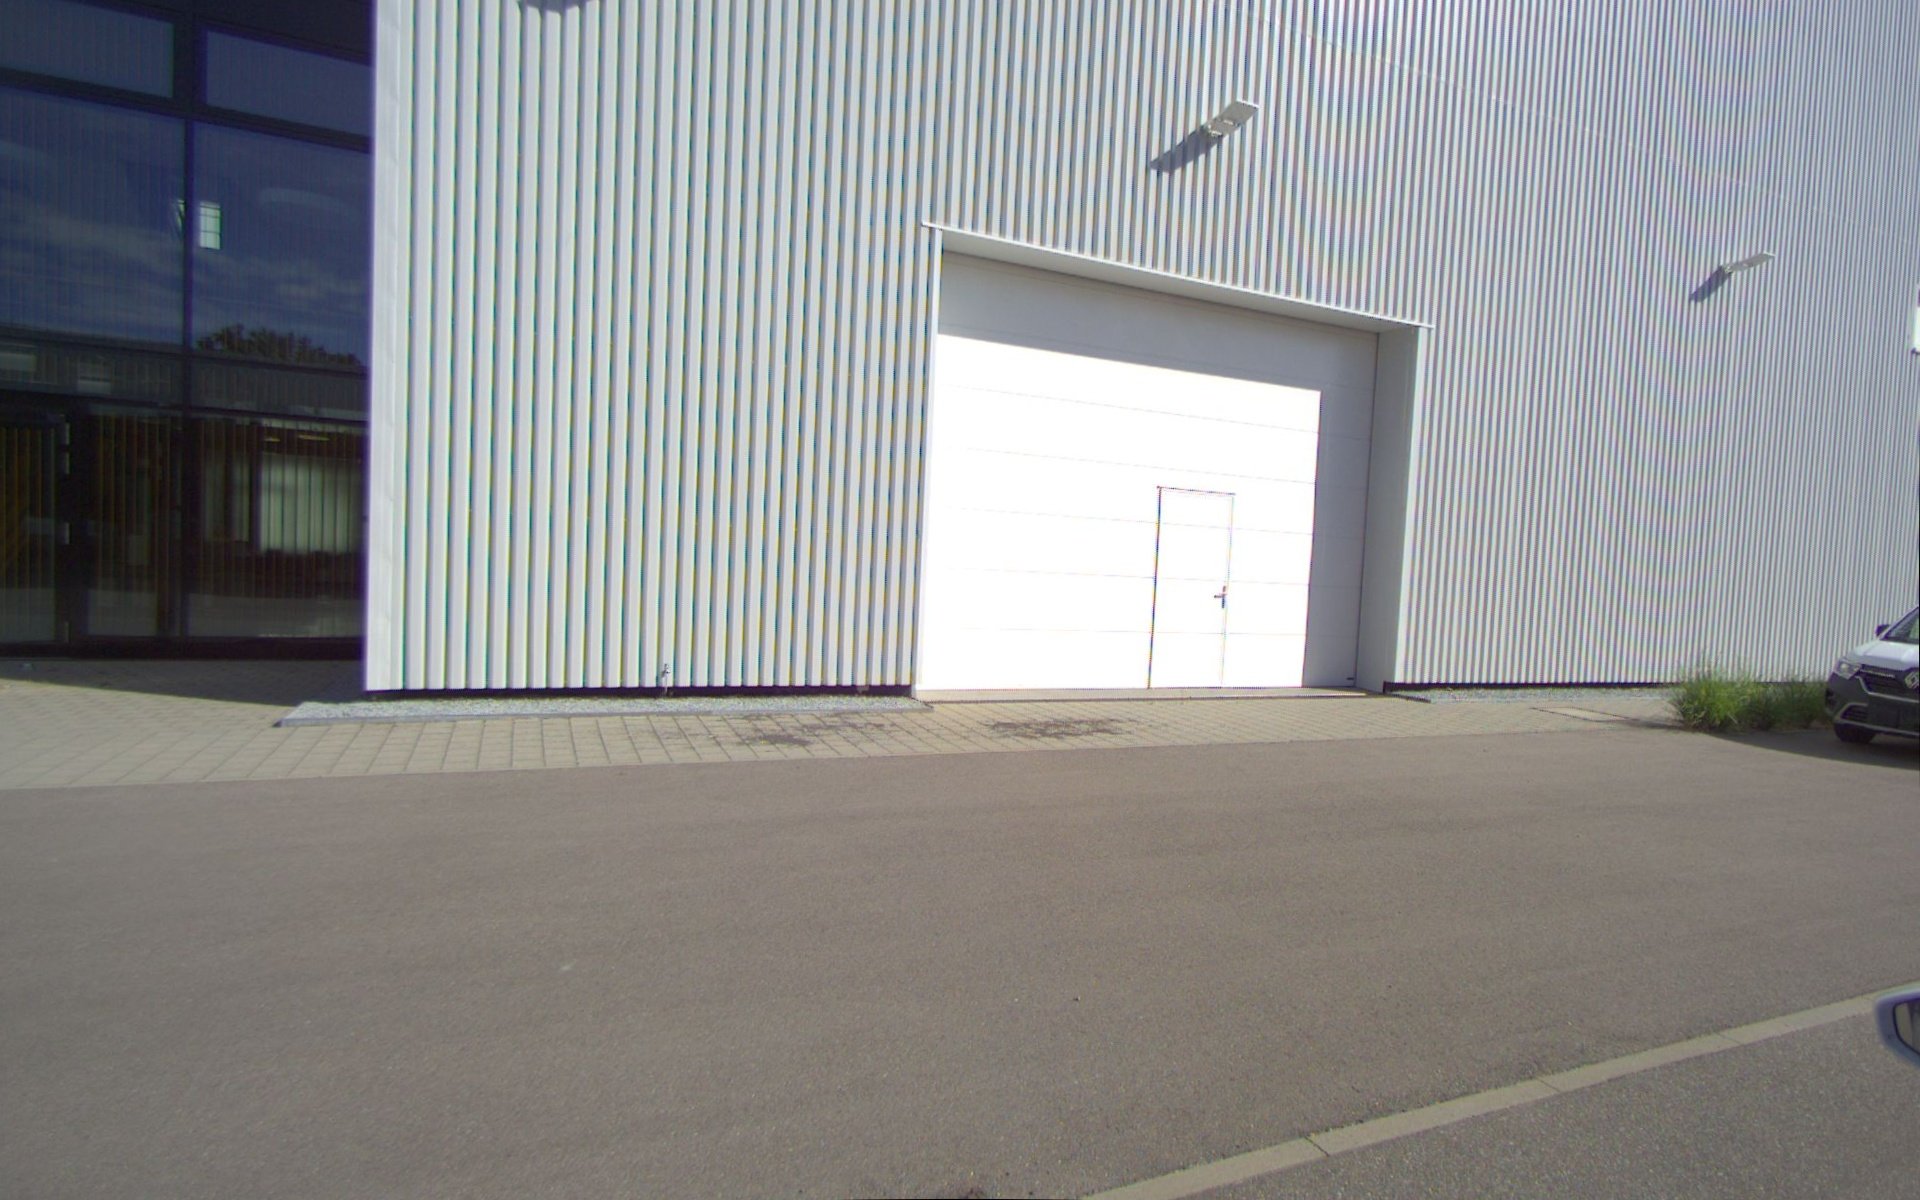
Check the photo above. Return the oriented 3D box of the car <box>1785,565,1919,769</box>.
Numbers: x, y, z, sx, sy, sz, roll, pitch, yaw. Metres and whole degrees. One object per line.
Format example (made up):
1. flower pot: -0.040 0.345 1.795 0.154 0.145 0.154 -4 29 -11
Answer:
1. car: 11.001 0.712 10.504 4.299 1.870 1.884 2 4 -25
